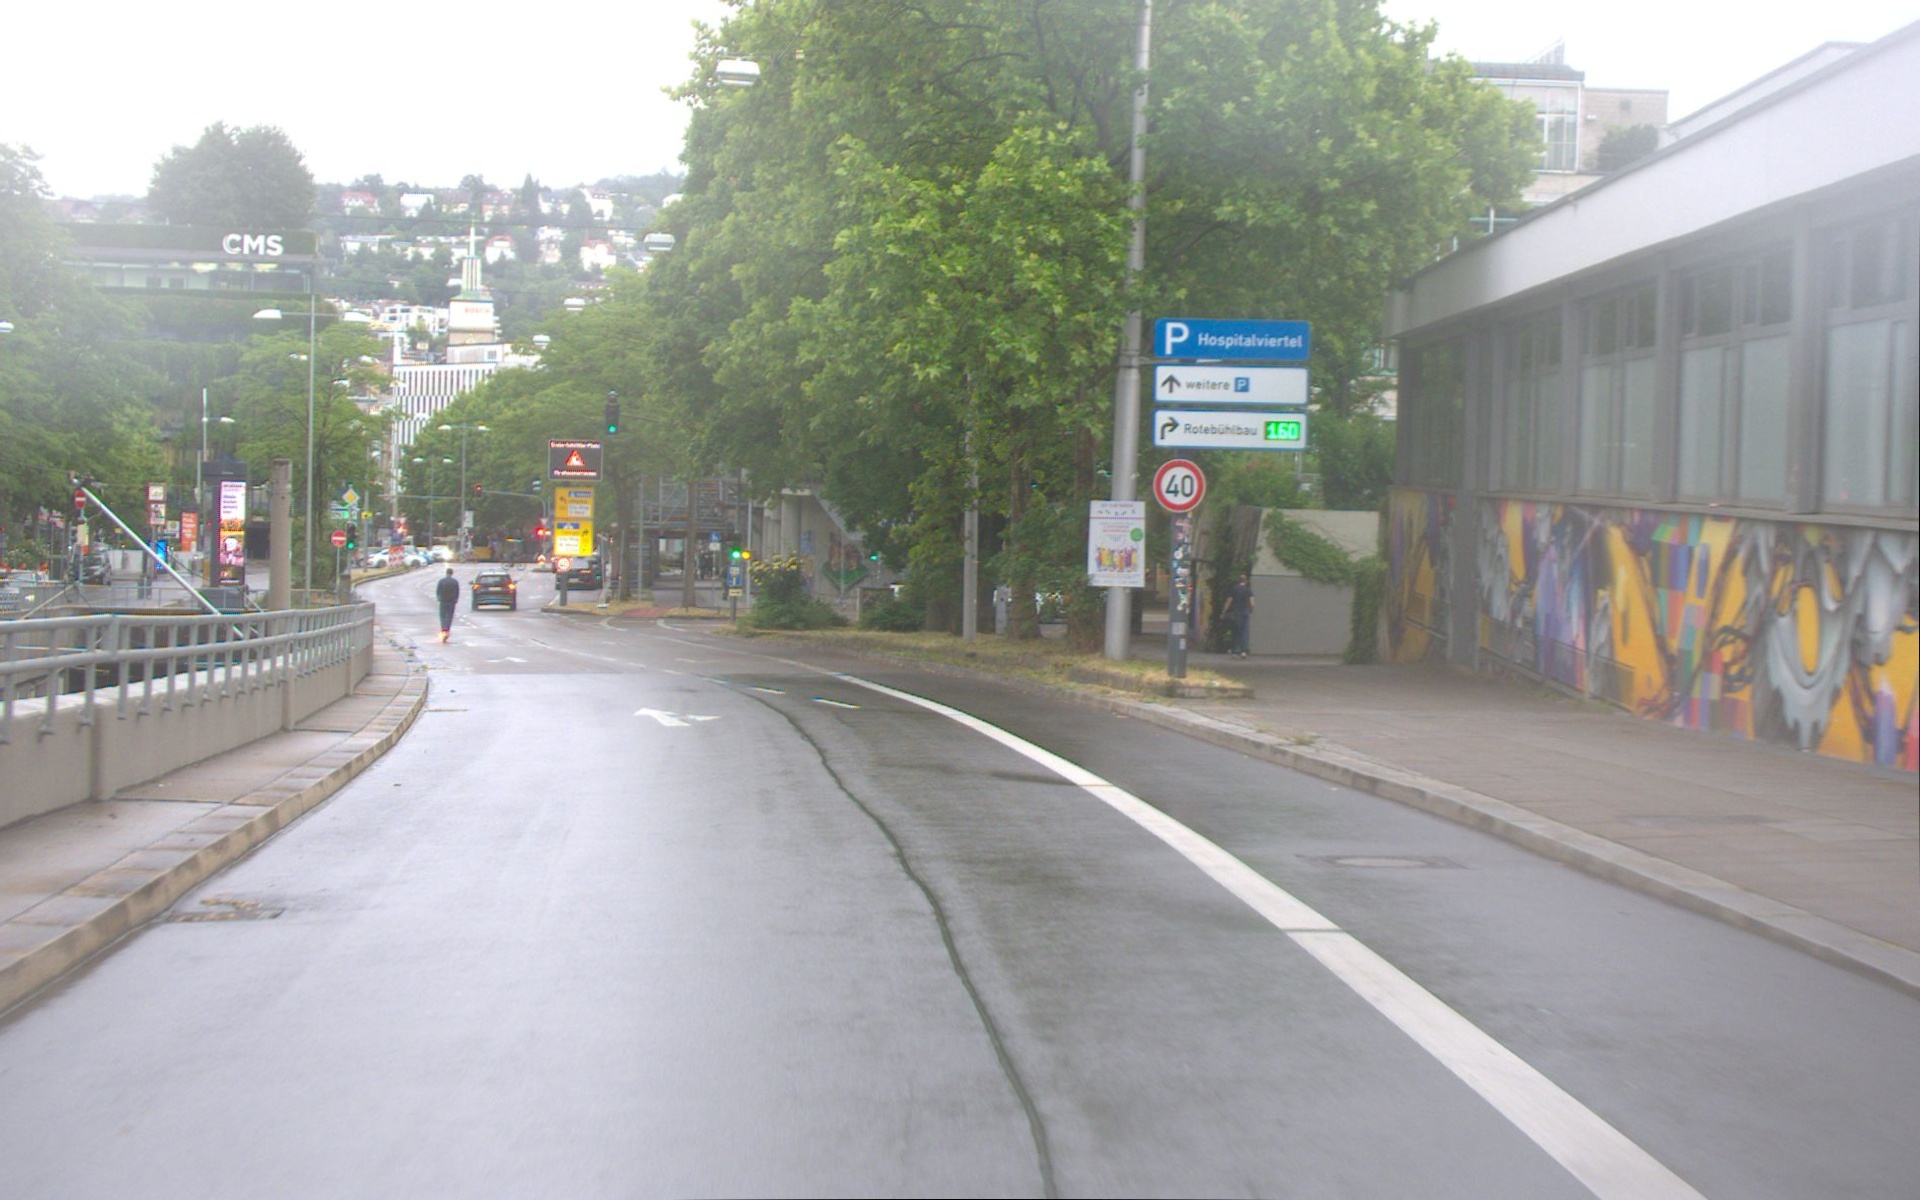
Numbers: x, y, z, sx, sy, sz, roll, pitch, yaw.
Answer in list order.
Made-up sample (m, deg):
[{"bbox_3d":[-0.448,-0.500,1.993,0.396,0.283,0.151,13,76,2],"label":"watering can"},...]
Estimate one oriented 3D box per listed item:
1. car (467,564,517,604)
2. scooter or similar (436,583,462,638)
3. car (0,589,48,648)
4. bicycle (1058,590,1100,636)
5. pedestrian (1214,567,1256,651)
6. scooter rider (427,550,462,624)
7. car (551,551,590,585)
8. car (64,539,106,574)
[{"bbox_3d":[-18.828,-0.656,138.141,1.745,1.514,4.108,2,0,-11],"label":"car"},{"bbox_3d":[-13.729,0.274,92.302,0.546,1.414,1.956,2,0,-12],"label":"scooter or similar"},{"bbox_3d":[-31.217,0.583,113.094,1.836,1.707,4.579,1,2,-9],"label":"car"},{"bbox_3d":[2.915,0.315,84.603,0.806,1.108,2.198,1,0,-3],"label":"bicycle"},{"bbox_3d":[6.100,0.197,76.268,0.807,1.858,1.056,0,0,-1],"label":"pedestrian"},{"bbox_3d":[-13.840,-0.354,92.279,0.808,1.941,0.822,2,0,-12],"label":"scooter rider"},{"bbox_3d":[-20.005,-1.647,176.645,1.901,1.678,3.911,2,0,-6],"label":"car"},{"bbox_3d":[-43.755,-2.165,172.013,1.780,1.550,3.895,2,2,-11],"label":"car"}]
